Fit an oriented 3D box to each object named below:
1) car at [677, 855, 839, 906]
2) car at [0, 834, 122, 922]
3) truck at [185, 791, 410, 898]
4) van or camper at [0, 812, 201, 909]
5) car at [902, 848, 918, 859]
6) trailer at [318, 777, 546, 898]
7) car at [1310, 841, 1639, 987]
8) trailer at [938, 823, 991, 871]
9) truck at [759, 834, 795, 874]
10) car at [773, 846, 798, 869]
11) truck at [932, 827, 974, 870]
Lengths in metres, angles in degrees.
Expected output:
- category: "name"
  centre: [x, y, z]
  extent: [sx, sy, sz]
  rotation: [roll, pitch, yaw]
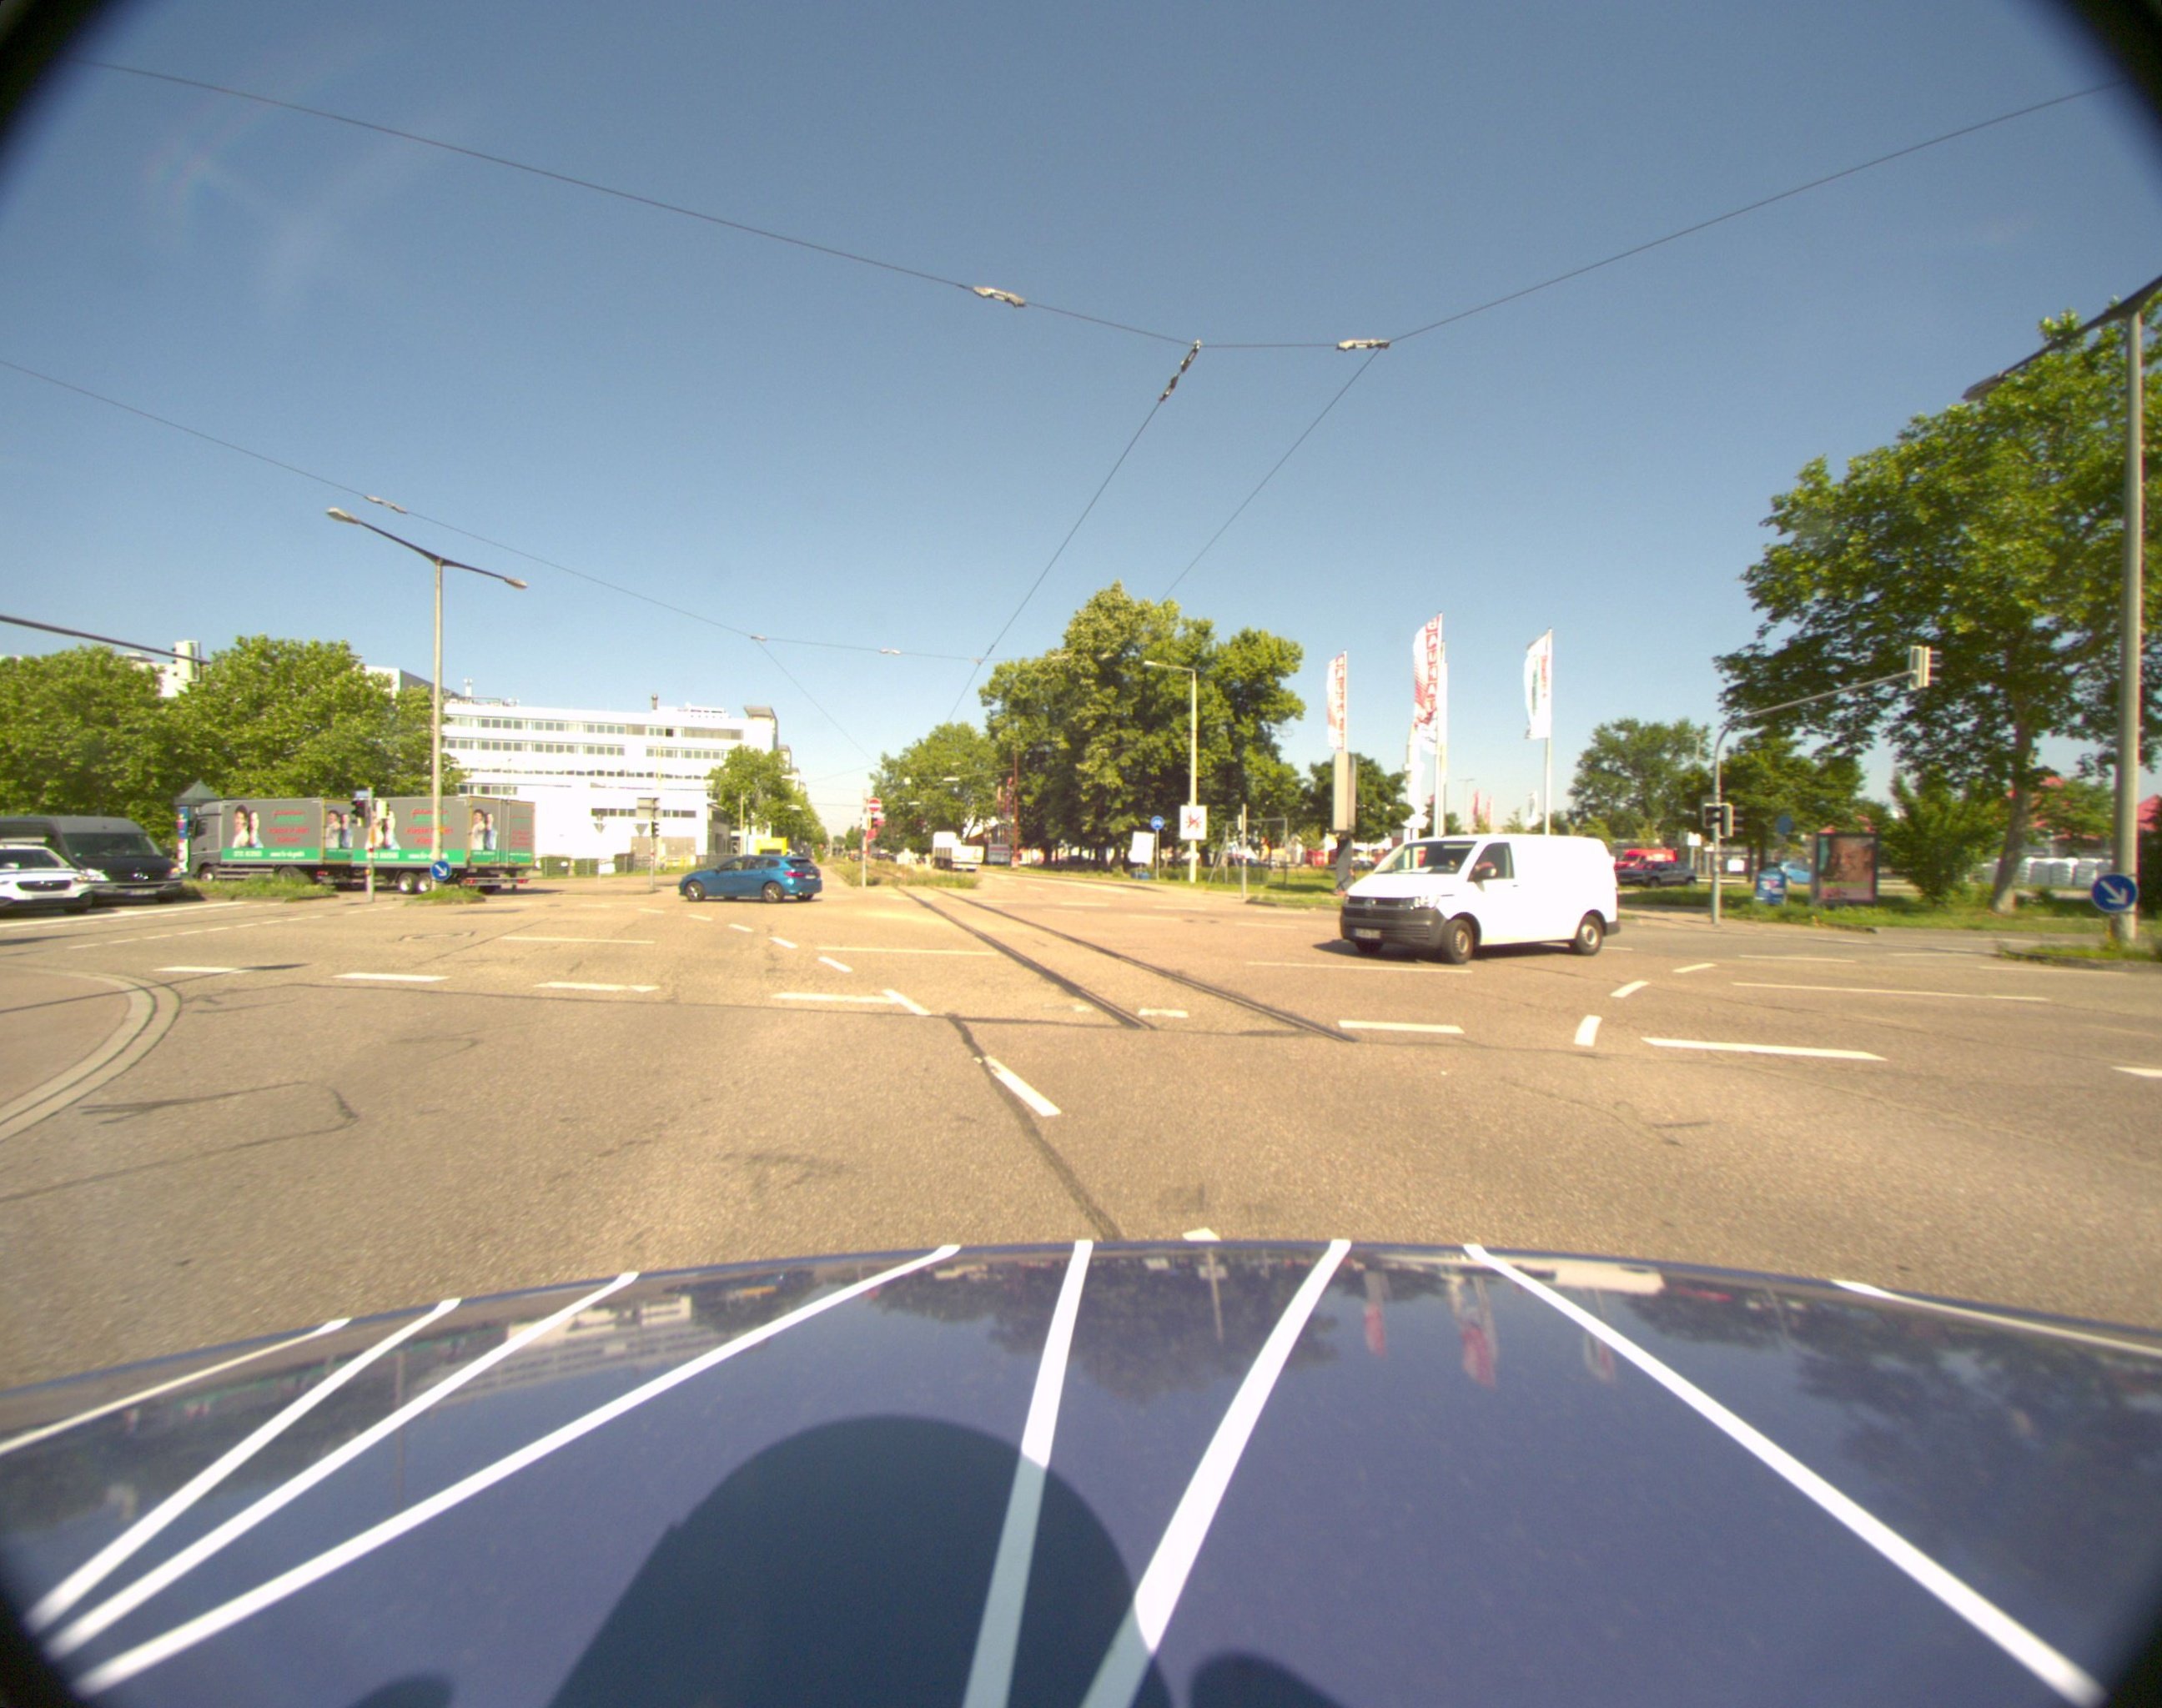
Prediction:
- category: "car"
  centre: [-9.854, 0.758, 23.305]
  extent: [4.188, 1.424, 2.002]
  rotation: [1, 0, 13]
- category: "car"
  centre: [-26.695, 0.606, 18.789]
  extent: [4.875, 2.002, 2.002]
  rotation: [-2, 0, 17]
- category: "truck"
  centre: [-33.054, -0.314, 32.074]
  extent: [8.635, 4.021, 2.944]
  rotation: [-2, 0, 17]
- category: "van or camper"
  centre: [-28.599, 0.224, 22.102]
  extent: [5.136, 2.570, 2.003]
  rotation: [-2, 0, 18]
- category: "car"
  centre: [-29.319, -0.112, 130.293]
  extent: [2.002, 1.739, 3.993]
  rotation: [-2, 0, -21]
- category: "trailer"
  centre: [-25.273, -0.520, 29.646]
  extent: [7.785, 4.201, 2.944]
  rotation: [-2, 0, 17]
- category: "car"
  centre: [6.323, 0.837, 12.176]
  extent: [4.980, 1.982, 1.884]
  rotation: [1, 0, -23]
- category: "trailer"
  centre: [-10.895, -0.539, 69.826]
  extent: [2.944, 3.938, 12.122]
  rotation: [-2, 0, -18]
- category: "truck"
  centre: [-23.555, 0.032, 58.788]
  extent: [2.414, 2.846, 5.794]
  rotation: [-2, 0, -23]
- category: "car"
  centre: [-26.670, 0.321, 68.547]
  extent: [2.002, 2.002, 3.992]
  rotation: [1, 0, -21]
- category: "truck"
  centre: [-12.931, -0.476, 76.293]
  extent: [2.944, 3.966, 8.142]
  rotation: [-2, 0, -18]
